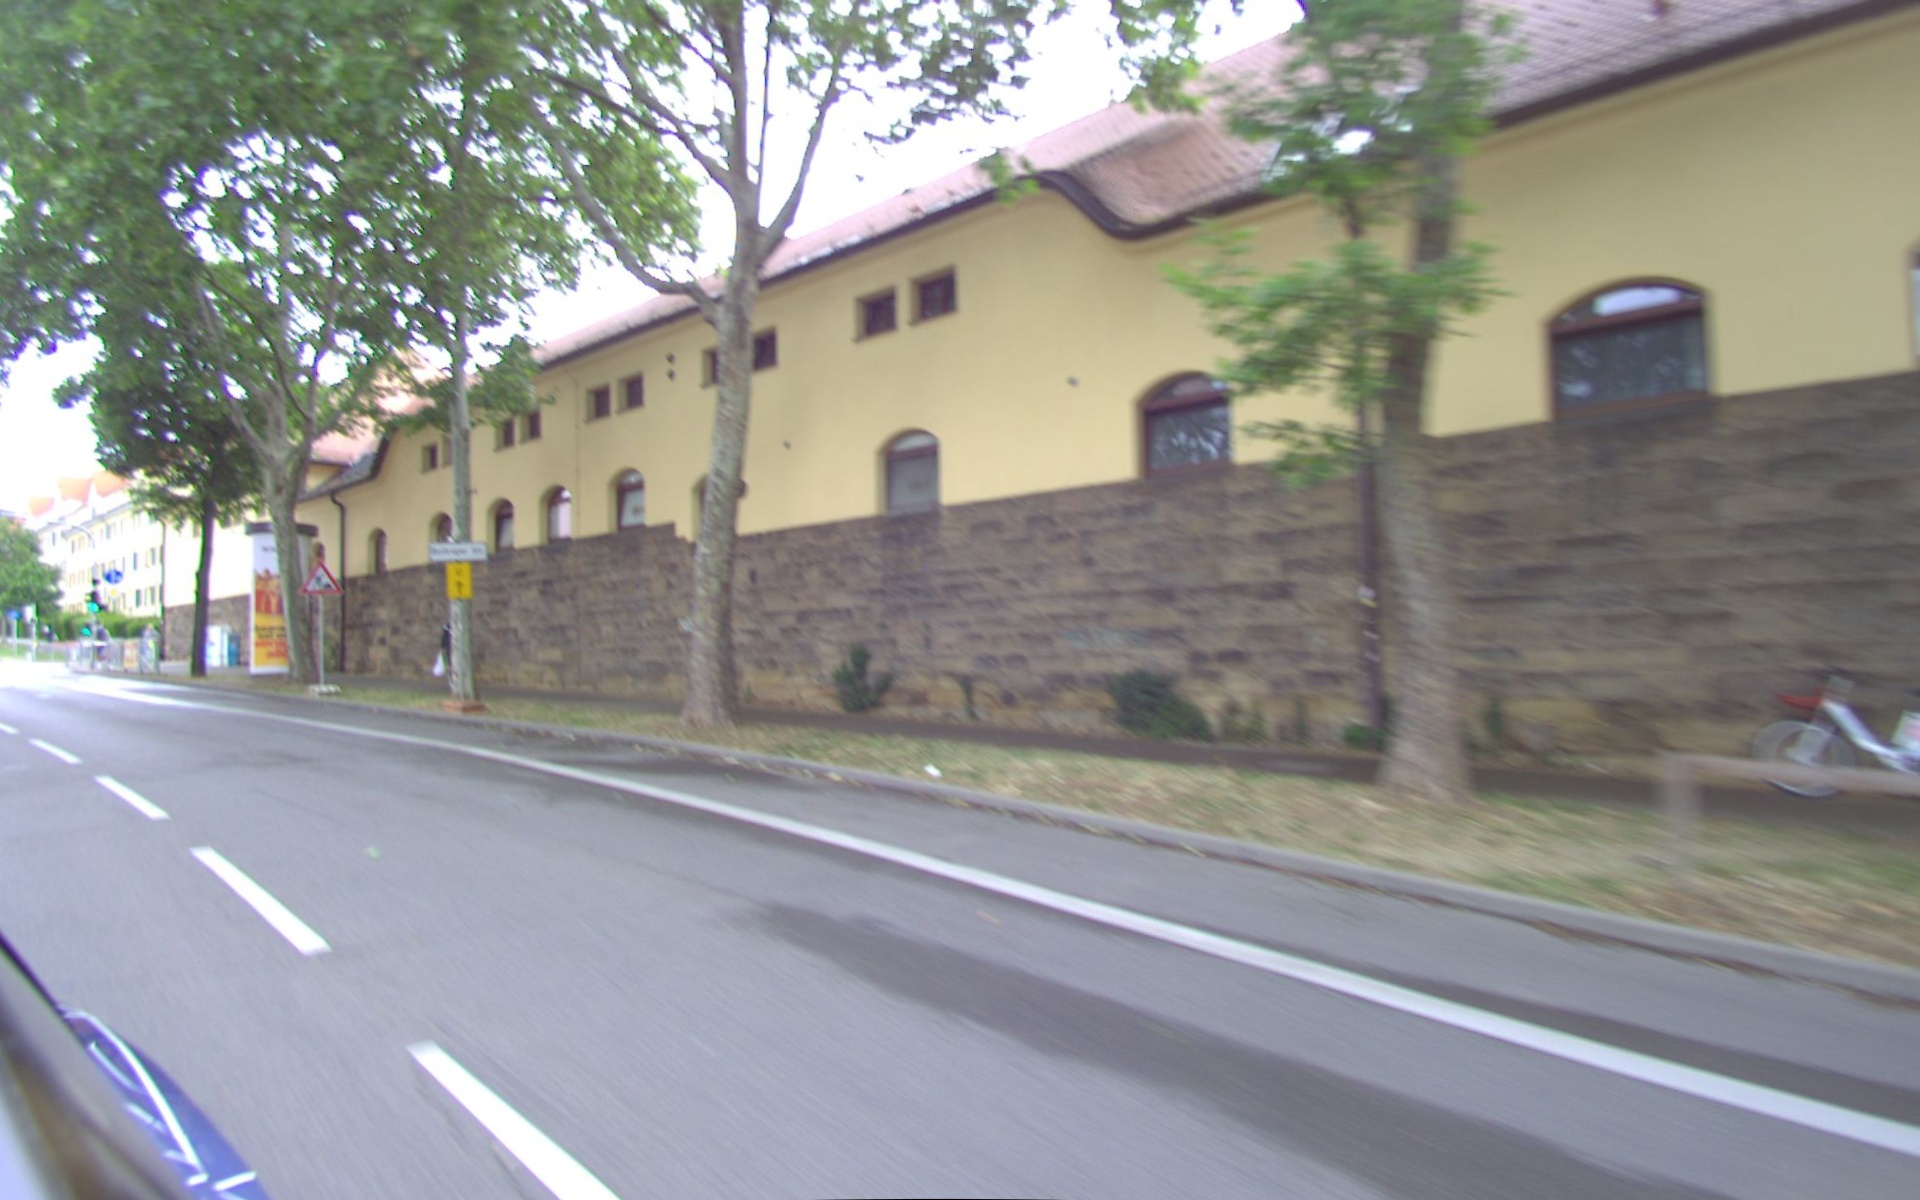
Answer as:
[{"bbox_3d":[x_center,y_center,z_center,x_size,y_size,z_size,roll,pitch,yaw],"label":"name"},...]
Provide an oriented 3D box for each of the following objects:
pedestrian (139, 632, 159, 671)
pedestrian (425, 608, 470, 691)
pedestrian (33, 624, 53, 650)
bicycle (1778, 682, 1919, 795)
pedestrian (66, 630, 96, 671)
[{"bbox_3d":[-35.428,2.245,44.211,0.549,1.675,0.617,-1,0,41],"label":"pedestrian"},{"bbox_3d":[-12.026,1.135,23.736,0.815,1.890,0.664,-1,0,41],"label":"pedestrian"},{"bbox_3d":[-73.868,2.967,81.512,1.096,2.005,1.029,-1,0,41],"label":"pedestrian"},{"bbox_3d":[7.721,1.116,8.124,1.774,0.852,0.332,-2,-2,40],"label":"bicycle"},{"bbox_3d":[-37.308,2.121,42.958,0.931,1.699,0.843,-2,-1,41],"label":"pedestrian"}]
